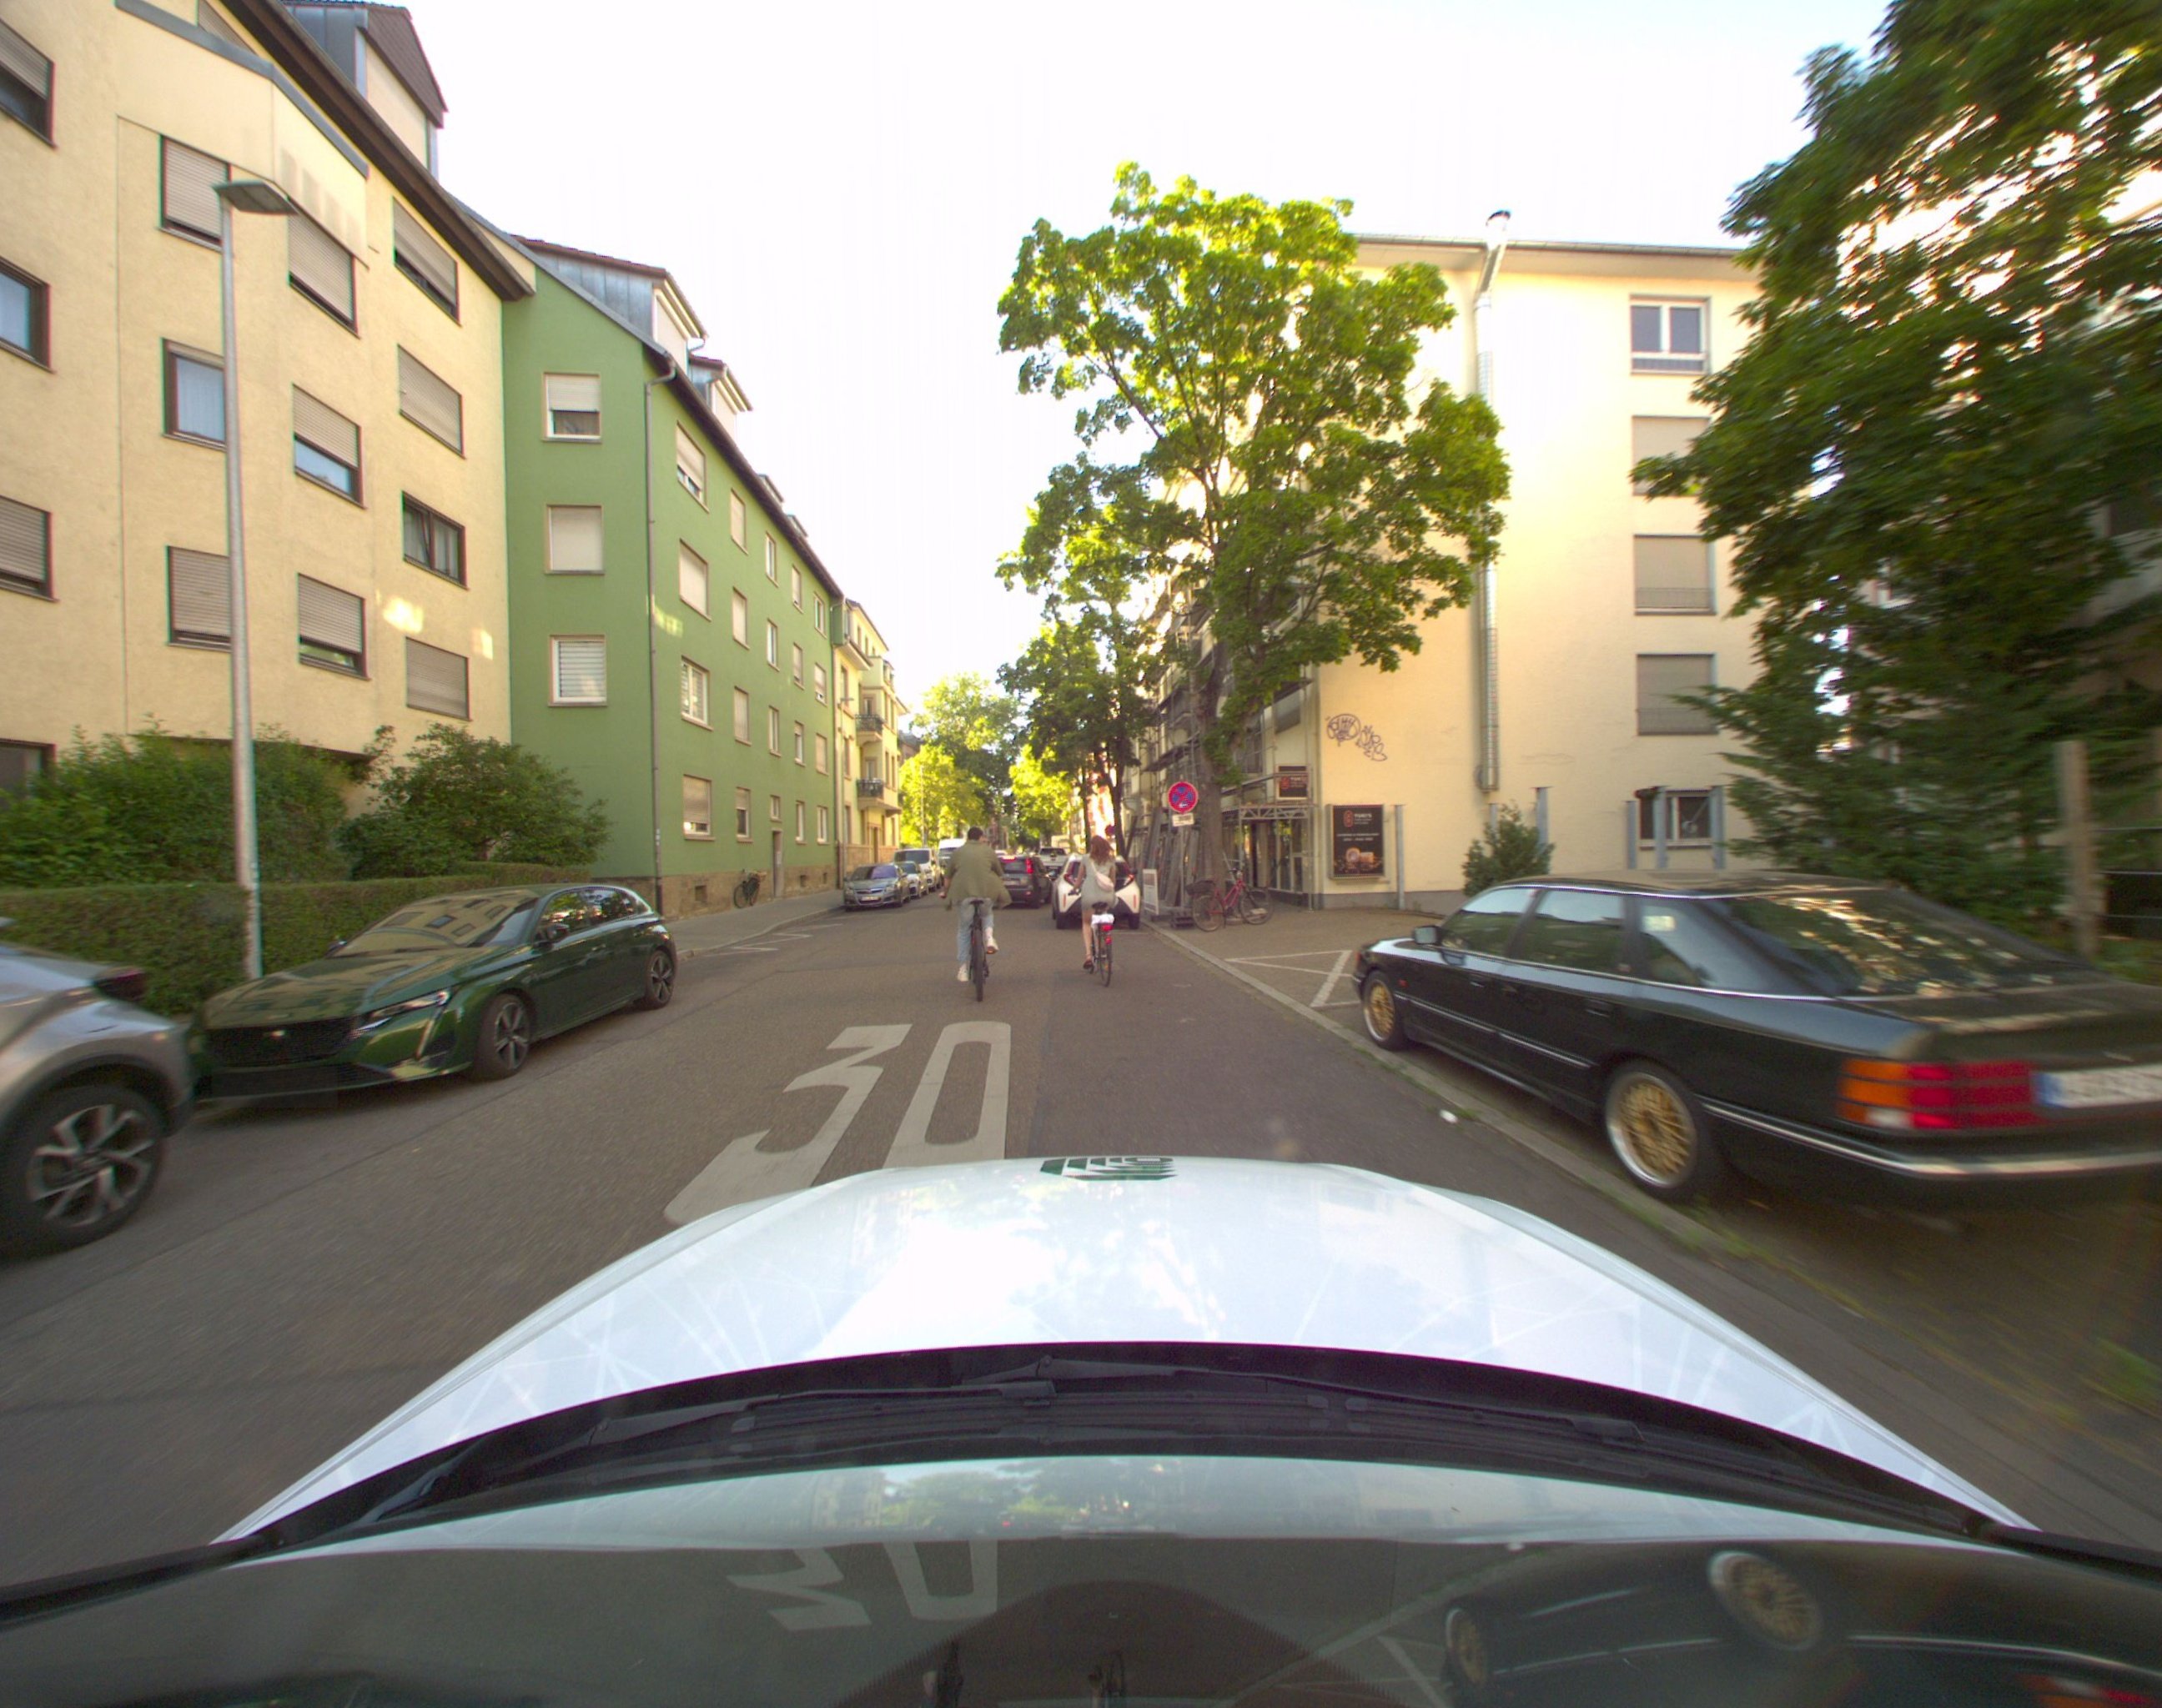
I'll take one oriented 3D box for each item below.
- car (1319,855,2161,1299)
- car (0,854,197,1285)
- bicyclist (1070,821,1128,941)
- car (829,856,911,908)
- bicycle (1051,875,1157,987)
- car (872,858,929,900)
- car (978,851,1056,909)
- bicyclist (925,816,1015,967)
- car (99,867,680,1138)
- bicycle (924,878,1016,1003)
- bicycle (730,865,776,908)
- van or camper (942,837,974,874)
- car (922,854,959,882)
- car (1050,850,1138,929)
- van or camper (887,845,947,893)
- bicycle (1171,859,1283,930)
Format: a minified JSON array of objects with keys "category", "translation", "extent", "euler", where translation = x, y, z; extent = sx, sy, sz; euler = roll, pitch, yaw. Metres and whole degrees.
[{"category":"car","translation":[3.167,0.731,5.012],"extent":[1.706,1.388,4.562],"euler":[-2,0,-5]},{"category":"car","translation":[-4.939,0.878,1.819],"extent":[1.903,1.659,3.986],"euler":[-3,0,-10]},{"category":"bicyclist","translation":[0.209,0.343,9.930],"extent":[0.621,1.381,0.867],"euler":[-2,-4,0]},{"category":"car","translation":[-6.682,0.837,26.249],"extent":[1.977,1.455,4.103],"euler":[-3,0,-7]},{"category":"bicycle","translation":[0.215,0.871,9.954],"extent":[0.839,1.149,2.225],"euler":[1,0,-10]},{"category":"car","translation":[-6.916,0.916,31.513],"extent":[1.684,1.453,3.703],"euler":[-2,0,-6]},{"category":"car","translation":[-1.805,0.708,23.841],"extent":[1.548,1.533,3.494],"euler":[-1,0,7]},{"category":"bicyclist","translation":[-1.205,0.408,9.025],"extent":[0.880,1.562,0.867],"euler":[-2,-3,-4]},{"category":"car","translation":[-5.296,0.945,7.138],"extent":[1.750,1.497,4.127],"euler":[-3,0,-6]},{"category":"bicycle","translation":[-1.189,0.887,9.199],"extent":[0.837,1.149,2.229],"euler":[-2,0,-4]},{"category":"bicycle","translation":[-9.855,0.953,24.551],"extent":[0.549,1.178,2.276],"euler":[2,0,-3]},{"category":"van or camper","translation":[-8.965,0.061,59.813],"extent":[1.990,2.553,5.014],"euler":[-1,0,-5]},{"category":"car","translation":[-8.271,0.800,48.200],"extent":[1.707,1.504,3.994],"euler":[-1,0,-4]},{"category":"car","translation":[0.196,0.705,17.856],"extent":[1.671,1.545,3.399],"euler":[0,0,-4]},{"category":"van or camper","translation":[-7.488,0.650,37.627],"extent":[1.989,2.013,4.905],"euler":[-2,0,-3]},{"category":"bicycle","translation":[2.812,0.748,15.663],"extent":[1.988,1.165,0.721],"euler":[-4,1,-22]}]
